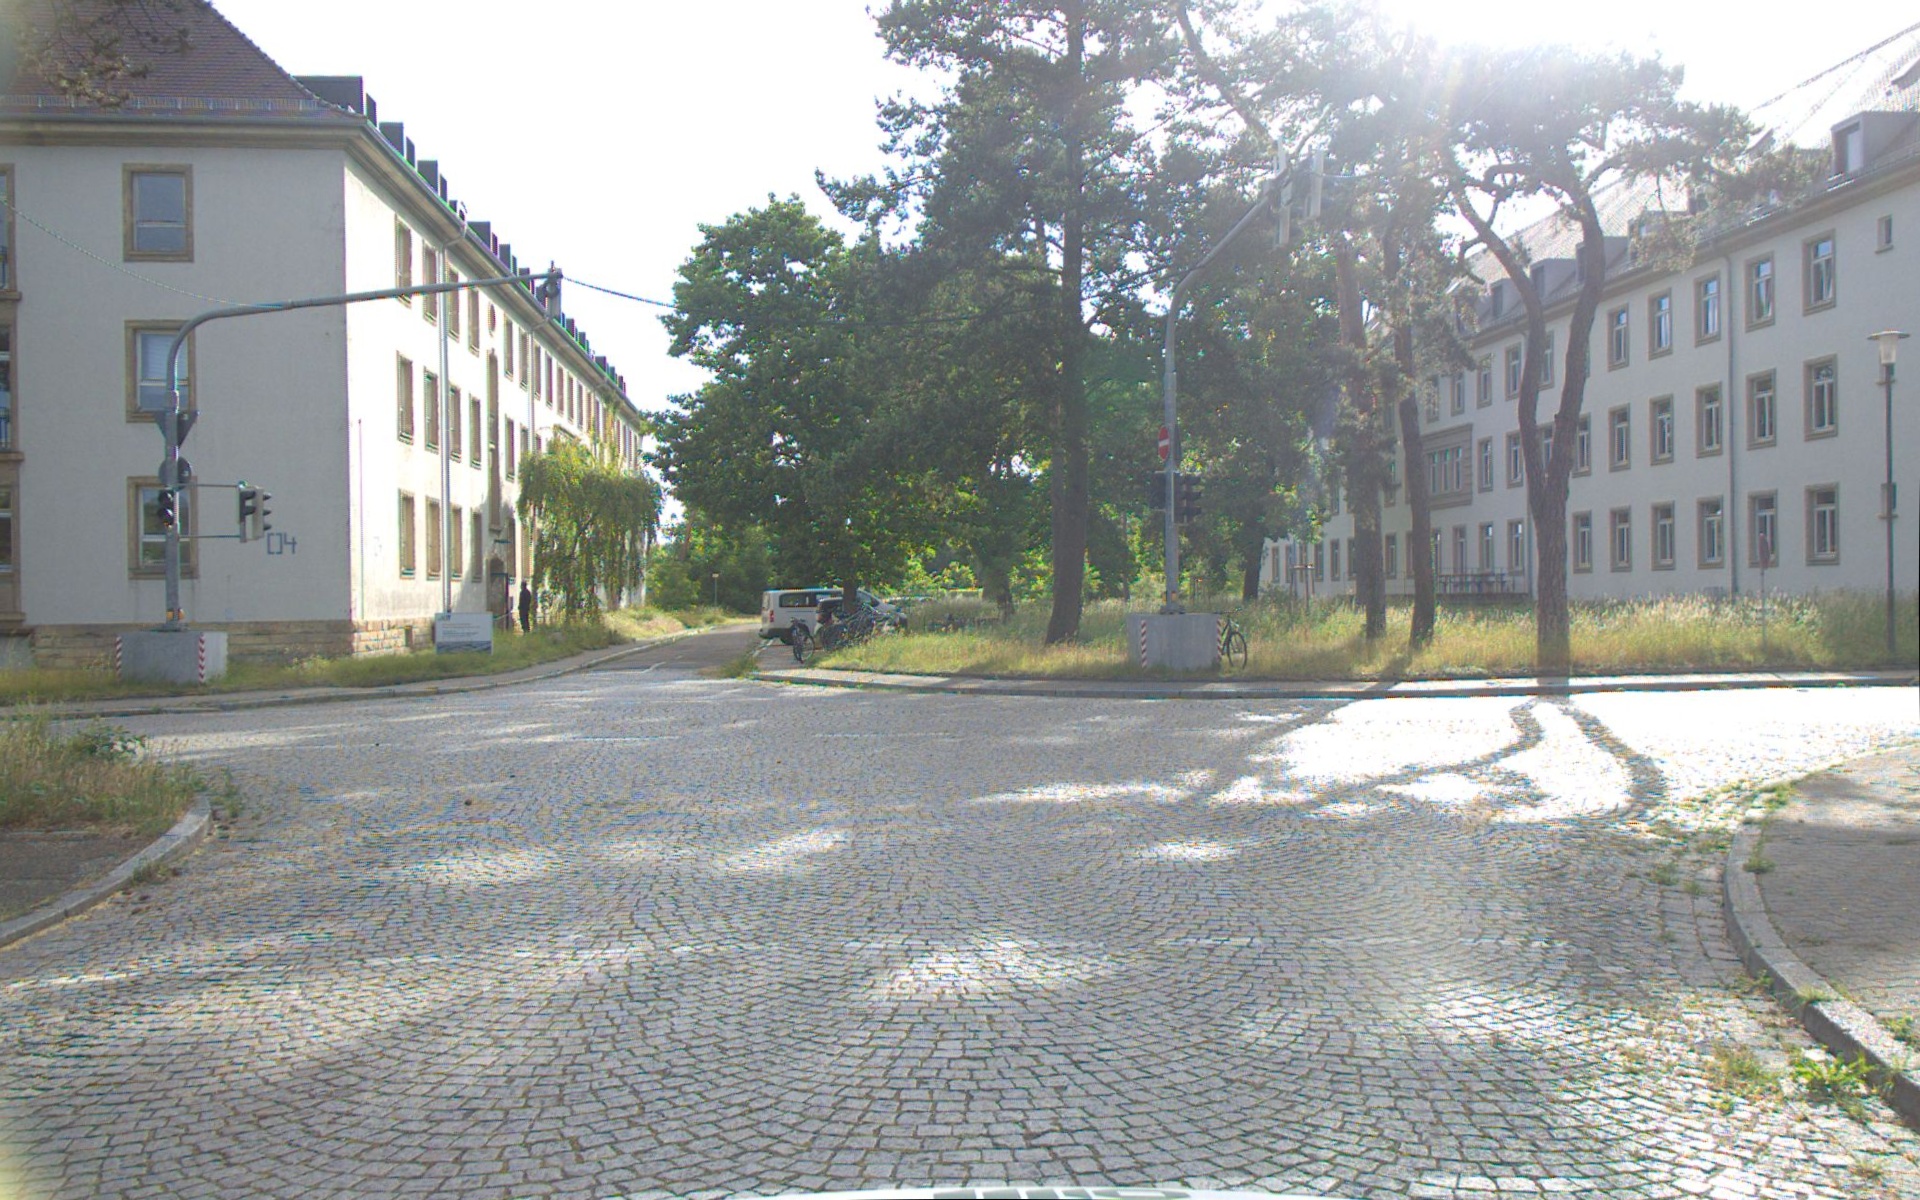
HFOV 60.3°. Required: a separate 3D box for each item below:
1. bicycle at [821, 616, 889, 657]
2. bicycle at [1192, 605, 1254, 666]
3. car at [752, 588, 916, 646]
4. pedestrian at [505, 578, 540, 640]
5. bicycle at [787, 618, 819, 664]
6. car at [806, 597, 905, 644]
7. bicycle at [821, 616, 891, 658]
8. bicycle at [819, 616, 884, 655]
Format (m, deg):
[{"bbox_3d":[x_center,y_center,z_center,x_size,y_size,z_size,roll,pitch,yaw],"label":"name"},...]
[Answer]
[{"bbox_3d":[-2.790,0.958,43.762,1.758,1.016,0.643,-1,1,-7],"label":"bicycle"},{"bbox_3d":[4.639,0.610,29.262,0.552,1.016,1.748,-1,1,-9],"label":"bicycle"},{"bbox_3d":[-4.478,0.597,58.568,5.418,1.949,2.241,0,-1,-20],"label":"car"},{"bbox_3d":[-14.279,0.280,53.983,0.966,1.998,0.931,0,-1,-6],"label":"pedestrian"},{"bbox_3d":[-3.699,0.957,39.042,0.714,1.016,1.797,-1,1,-5],"label":"bicycle"},{"bbox_3d":[-3.492,0.684,55.087,2.985,1.491,1.711,0,-1,-18],"label":"car"},{"bbox_3d":[-2.693,0.946,42.748,1.758,1.016,0.643,-1,1,-7],"label":"bicycle"},{"bbox_3d":[-3.025,0.979,45.987,1.758,1.016,0.643,-1,1,-7],"label":"bicycle"}]
